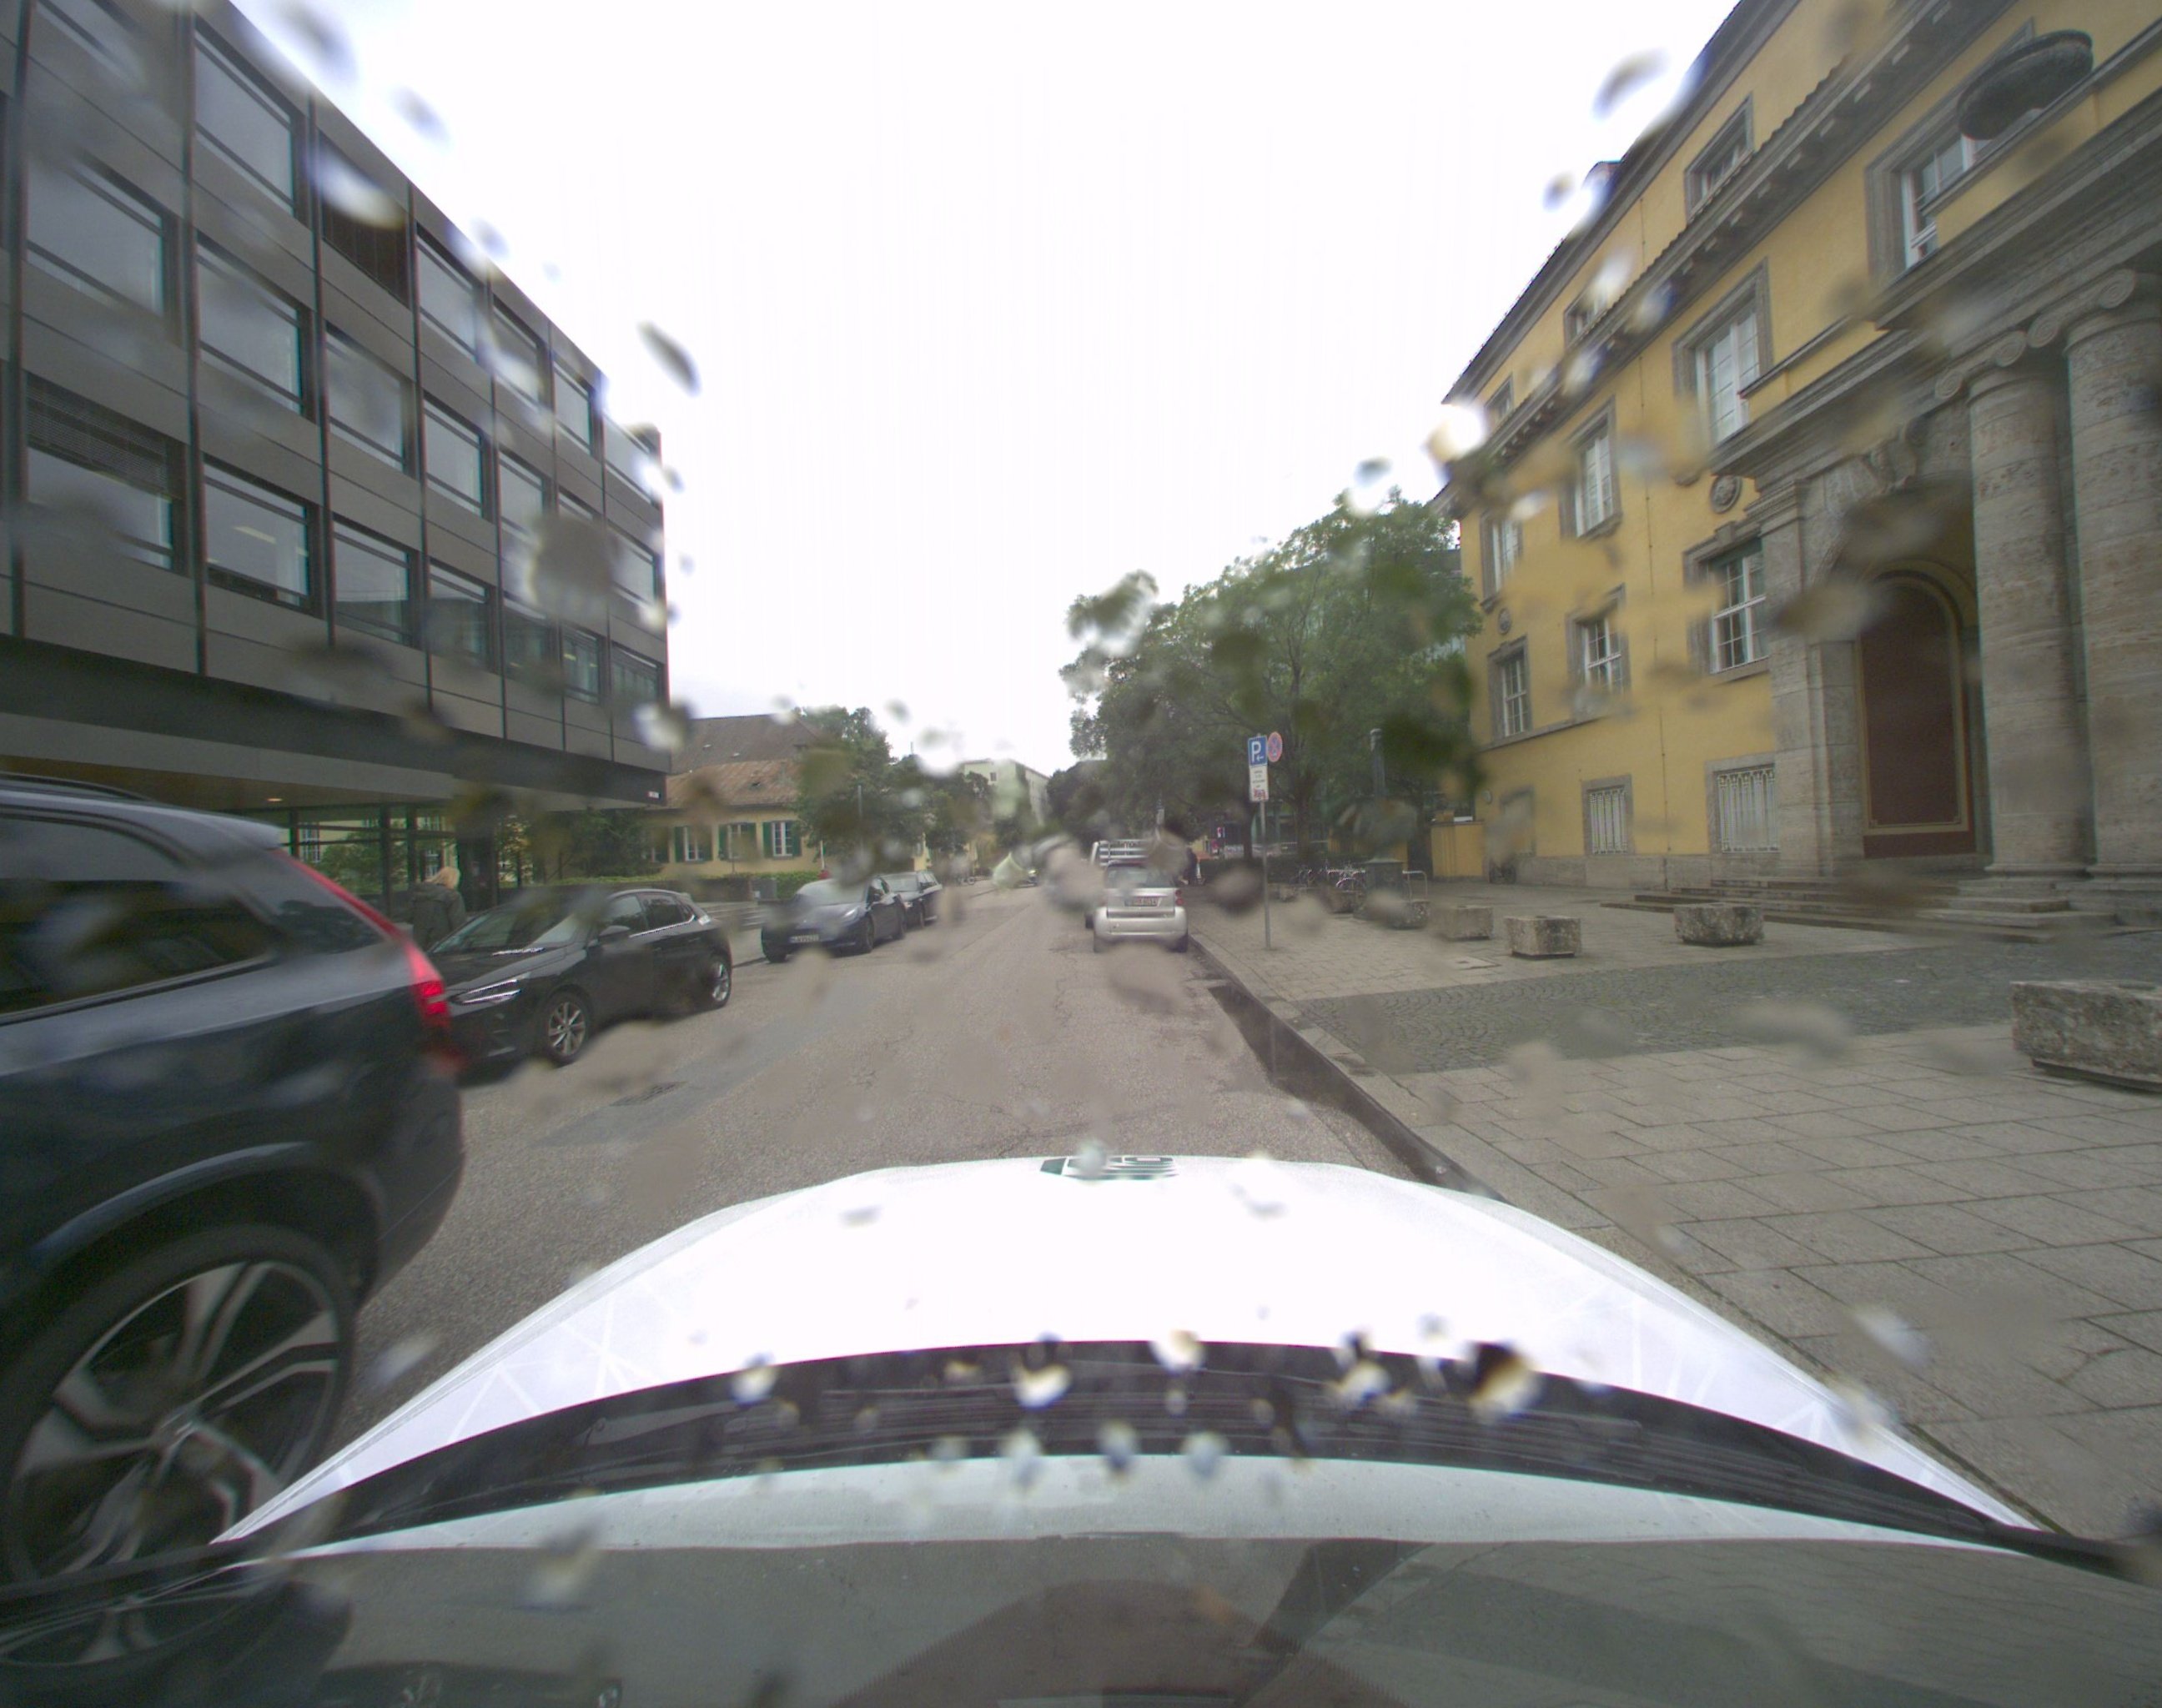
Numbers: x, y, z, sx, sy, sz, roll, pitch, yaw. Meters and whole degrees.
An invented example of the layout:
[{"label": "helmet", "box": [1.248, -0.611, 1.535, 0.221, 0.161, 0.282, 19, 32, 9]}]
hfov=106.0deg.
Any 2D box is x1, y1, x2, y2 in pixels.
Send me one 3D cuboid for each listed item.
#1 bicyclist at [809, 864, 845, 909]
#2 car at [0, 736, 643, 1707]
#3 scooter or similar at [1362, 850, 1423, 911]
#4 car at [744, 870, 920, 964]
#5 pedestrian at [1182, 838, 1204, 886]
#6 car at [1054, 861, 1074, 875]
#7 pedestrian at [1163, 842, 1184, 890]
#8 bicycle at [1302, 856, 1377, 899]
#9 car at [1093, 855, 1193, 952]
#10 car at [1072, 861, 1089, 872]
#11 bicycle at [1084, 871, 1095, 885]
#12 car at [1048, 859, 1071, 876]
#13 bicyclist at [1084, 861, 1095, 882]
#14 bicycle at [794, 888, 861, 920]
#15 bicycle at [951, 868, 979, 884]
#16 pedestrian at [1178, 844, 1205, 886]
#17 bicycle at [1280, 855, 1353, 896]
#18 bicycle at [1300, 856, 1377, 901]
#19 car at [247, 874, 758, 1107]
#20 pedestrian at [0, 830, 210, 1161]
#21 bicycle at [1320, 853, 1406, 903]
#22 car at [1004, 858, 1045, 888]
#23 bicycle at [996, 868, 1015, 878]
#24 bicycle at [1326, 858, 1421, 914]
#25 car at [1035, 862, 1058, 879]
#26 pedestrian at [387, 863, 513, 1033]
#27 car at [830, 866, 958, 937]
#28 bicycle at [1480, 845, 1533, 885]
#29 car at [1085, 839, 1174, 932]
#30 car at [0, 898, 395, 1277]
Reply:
[{"label": "bicyclist", "box": [-8.835, 1.138, 28.337, 1.097, 1.498, 0.668, -1, -2, -25]}, {"label": "car", "box": [-2.825, 0.701, 0.761, 1.953, 1.681, 4.913, -4, -1, 1]}, {"label": "scooter or similar", "box": [6.520, 0.556, 17.067, 0.541, 1.222, 1.000, -3, -1, -44]}, {"label": "car", "box": [-4.710, 1.117, 16.278, 1.917, 1.439, 4.916, -4, -1, 0]}, {"label": "pedestrian", "box": [5.103, 0.370, 37.153, 0.740, 2.135, 1.056, -3, -1, 0]}, {"label": "car", "box": [-1.919, 1.637, 95.132, 1.985, 1.603, 4.002, -2, -1, 3]}, {"label": "pedestrian", "box": [4.216, 0.544, 37.353, 0.740, 2.135, 1.056, -3, -1, 0]}, {"label": "bicycle", "box": [7.413, 0.671, 23.403, 1.924, 1.113, 0.471, -4, -1, 2]}, {"label": "car", "box": [1.036, 0.803, 14.562, 1.599, 1.546, 2.934, 0, 0, 1]}, {"label": "car", "box": [-0.059, 1.714, 112.963, 1.984, 1.486, 4.006, -3, 0, 6]}, {"label": "bicycle", "box": [0.583, 1.609, 55.479, 0.624, 0.955, 1.861, 0, -1, 2]}, {"label": "car", "box": [-2.336, 1.472, 90.056, 1.985, 1.648, 4.660, -2, -1, 4]}, {"label": "bicyclist", "box": [0.595, 1.214, 55.478, 0.702, 1.393, 0.869, 0, -1, 2]}, {"label": "bicycle", "box": [-8.801, 1.734, 28.321, 2.144, 1.004, 0.618, -2, -2, -26]}, {"label": "bicycle", "box": [-8.288, 1.590, 58.135, 1.922, 1.099, 0.615, 0, -1, 4]}, {"label": "pedestrian", "box": [5.187, 0.496, 38.312, 0.735, 1.907, 1.062, -4, -1, 36]}, {"label": "bicycle", "box": [7.185, 0.656, 24.895, 2.026, 1.113, 0.471, -4, -1, -2]}, {"label": "bicycle", "box": [7.129, 0.685, 22.615, 1.923, 1.113, 0.471, -4, -1, 3]}, {"label": "car", "box": [-5.017, 1.039, 7.981, 1.733, 1.461, 4.239, -5, -1, 3]}, {"label": "pedestrian", "box": [-7.279, 0.891, 5.657, 1.131, 2.055, 1.221, -1, -1, 0]}, {"label": "bicycle", "box": [7.012, 0.596, 20.295, 1.923, 1.113, 0.471, -4, -1, 3]}, {"label": "car", "box": [-3.523, 1.169, 51.488, 2.017, 1.689, 4.680, -3, 0, 2]}, {"label": "bicycle", "box": [-7.168, 1.805, 77.114, 1.621, 0.926, 0.646, -2, -2, -24]}, {"label": "bicycle", "box": [6.591, 0.710, 18.357, 1.926, 1.113, 0.471, -4, -1, -2]}, {"label": "car", "box": [-3.291, 1.520, 77.475, 1.726, 1.581, 3.792, 1, 0, 4]}, {"label": "pedestrian", "box": [-6.999, 0.995, 9.081, 0.754, 1.749, 0.948, -2, -1, -15]}, {"label": "car", "box": [-4.755, 1.151, 21.541, 1.986, 1.491, 4.886, -4, -1, 2]}, {"label": "bicycle", "box": [12.814, 0.321, 24.590, 0.540, 1.154, 1.902, -3, 0, 0]}, {"label": "car", "box": [1.026, 0.674, 19.666, 1.839, 1.933, 5.272, 0, 0, 0]}, {"label": "car", "box": [-5.229, 1.048, 2.946, 1.675, 1.440, 4.281, -5, -1, 2]}]
